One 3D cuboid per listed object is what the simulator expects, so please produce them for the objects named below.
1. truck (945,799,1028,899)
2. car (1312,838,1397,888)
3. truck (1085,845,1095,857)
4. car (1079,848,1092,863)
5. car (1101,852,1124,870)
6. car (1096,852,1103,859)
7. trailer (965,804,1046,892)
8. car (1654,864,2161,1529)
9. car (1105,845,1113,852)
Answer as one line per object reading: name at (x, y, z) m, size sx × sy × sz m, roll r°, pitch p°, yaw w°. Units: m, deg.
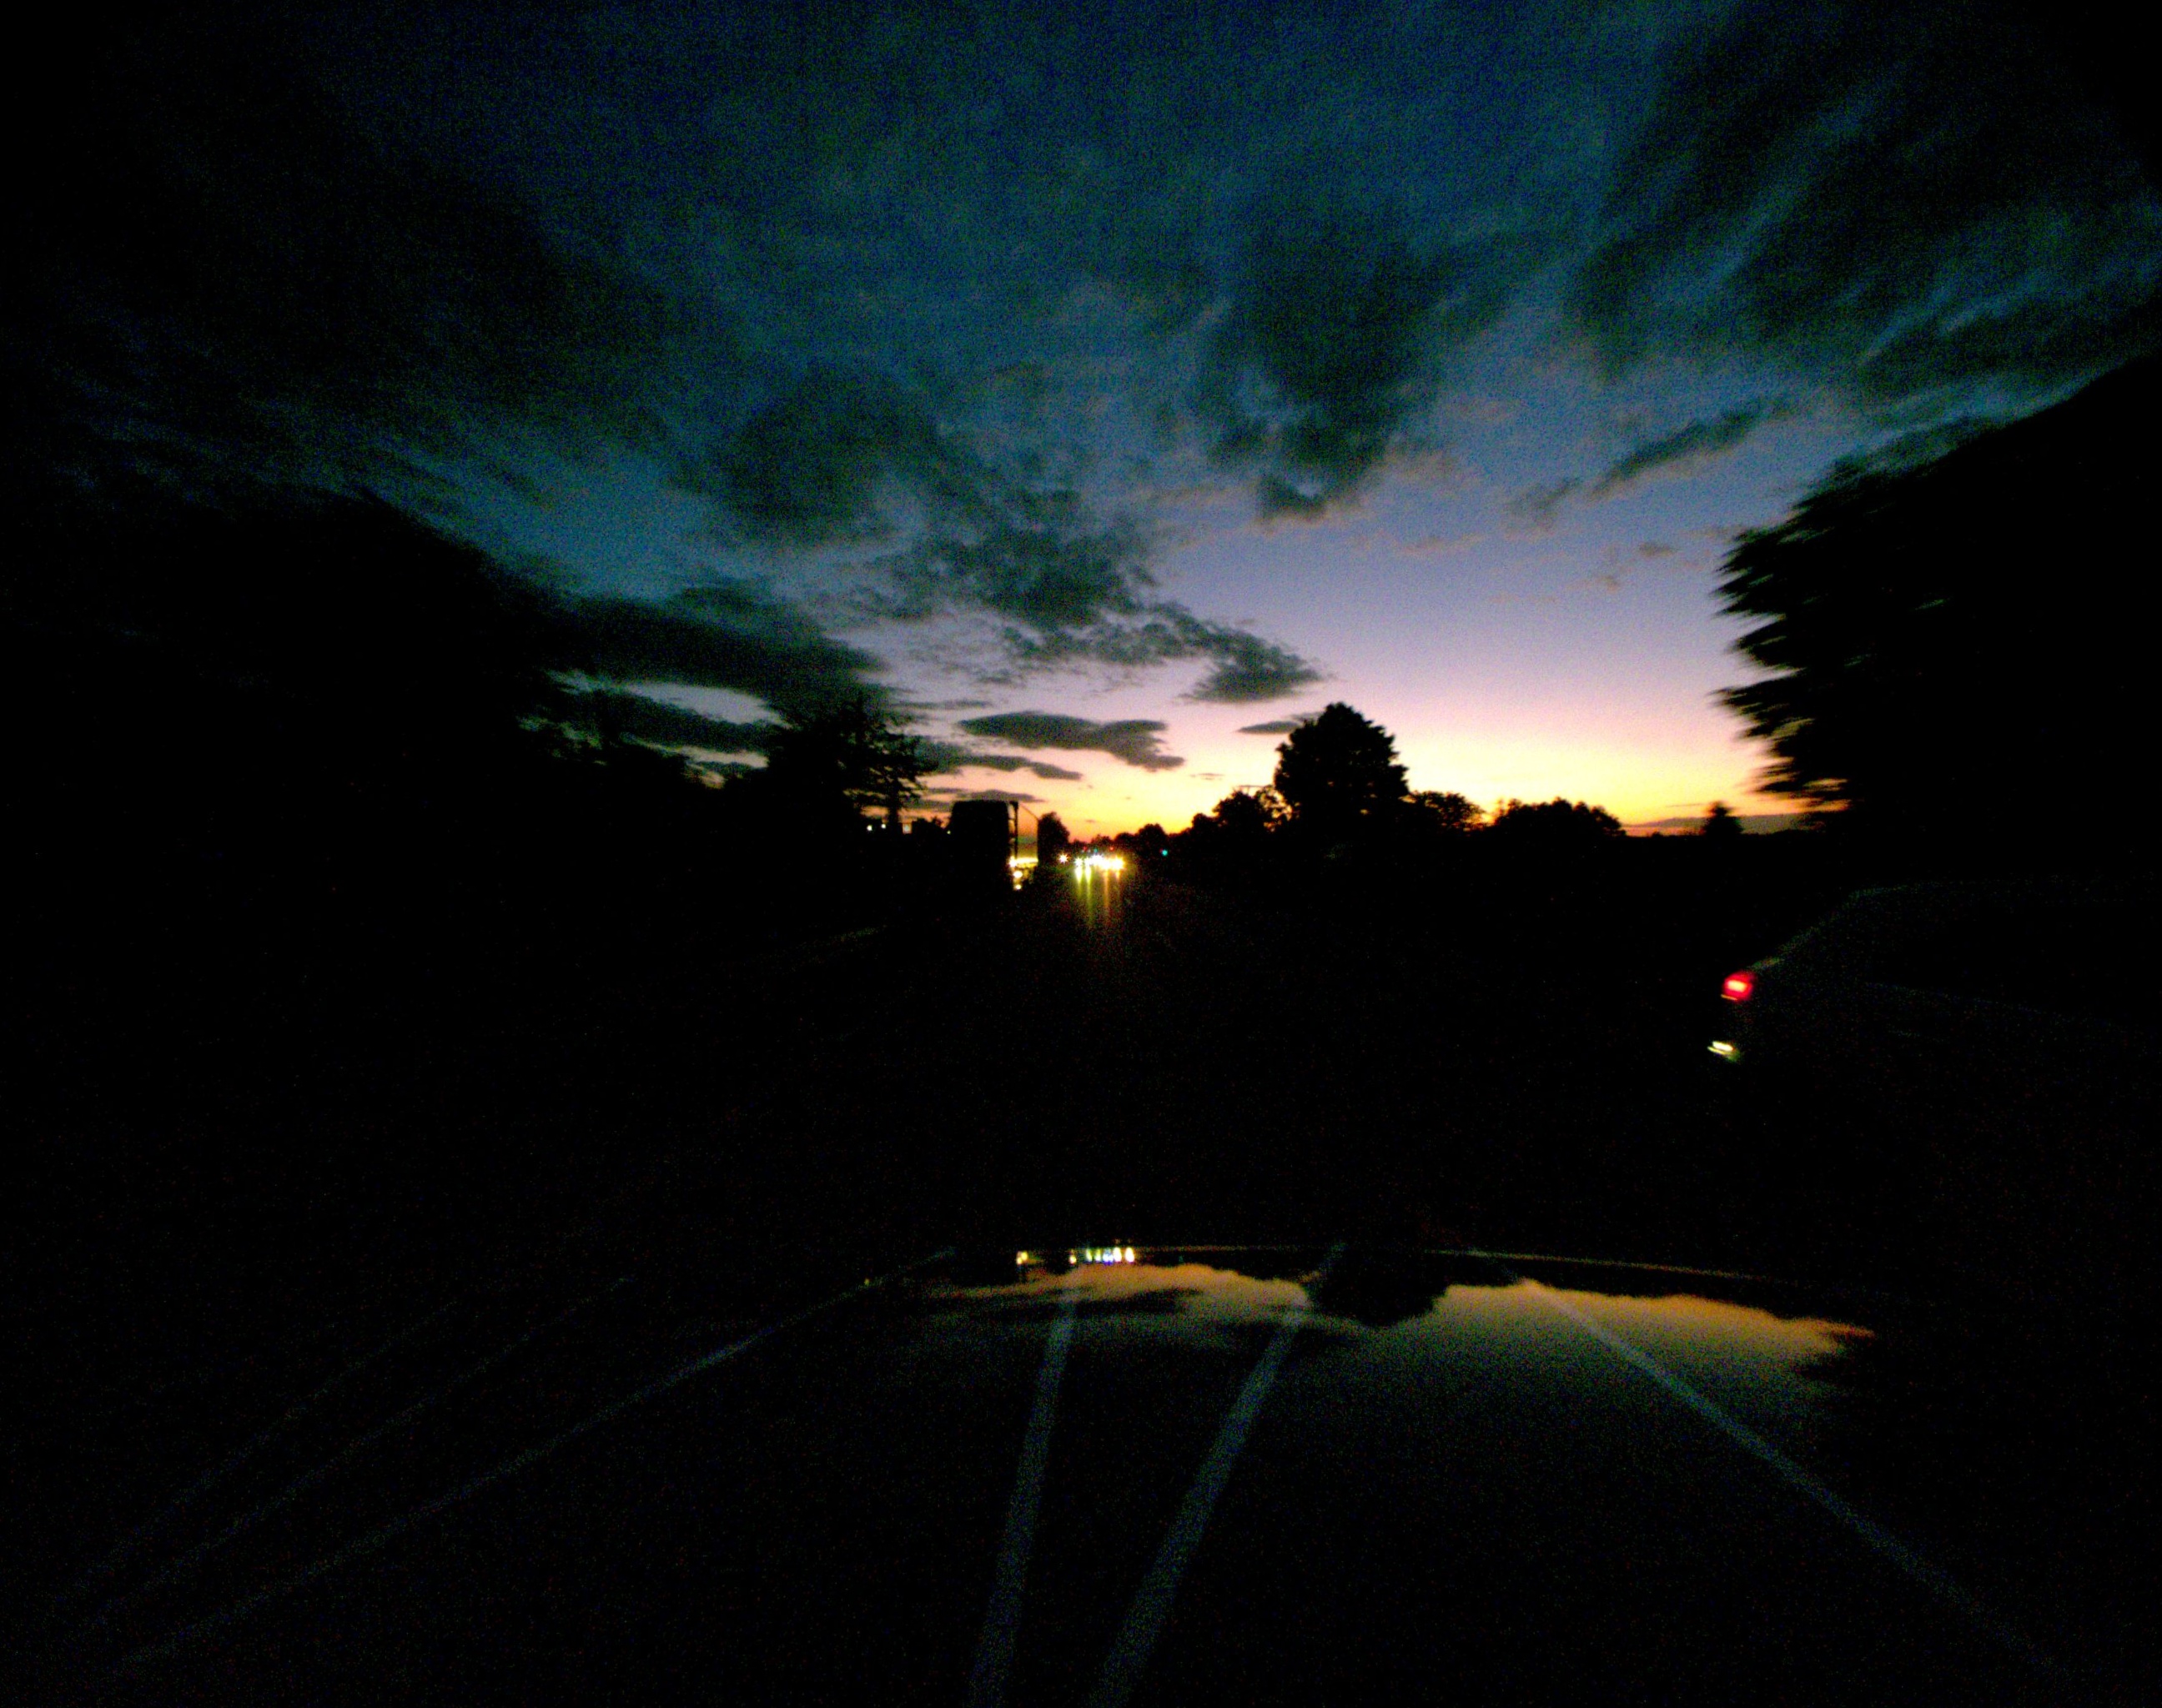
truck at (-3.825, -0.238, 31.946) m, size 2.490 × 3.778 × 5.498 m, roll -2°, pitch 1°, yaw 2°
car at (12.607, 0.363, 35.443) m, size 1.970 × 2.087 × 5.346 m, roll -2°, pitch 1°, yaw 0°
truck at (2.752, -0.885, 233.470) m, size 3.016 × 3.674 × 9.057 m, roll -2°, pitch 1°, yaw 0°
car at (0.631, 0.216, 112.649) m, size 1.741 × 2.002 × 4.000 m, roll -2°, pitch 0°, yaw 0°
car at (3.109, 0.665, 75.733) m, size 1.999 × 1.635 × 4.296 m, roll -2°, pitch 1°, yaw -1°
car at (6.135, 0.488, 248.893) m, size 1.998 × 2.002 × 4.000 m, roll -2°, pitch 1°, yaw 2°
trailer at (-3.608, -0.329, 39.648) m, size 2.474 × 3.790 × 12.671 m, roll -2°, pitch 1°, yaw 2°
car at (3.339, 0.835, 1.073) m, size 1.646 × 1.482 × 4.579 m, roll -2°, pitch 1°, yaw 1°
car at (7.728, -1.512, 210.114) m, size 1.999 × 2.002 × 3.999 m, roll -2°, pitch 1°, yaw 0°
